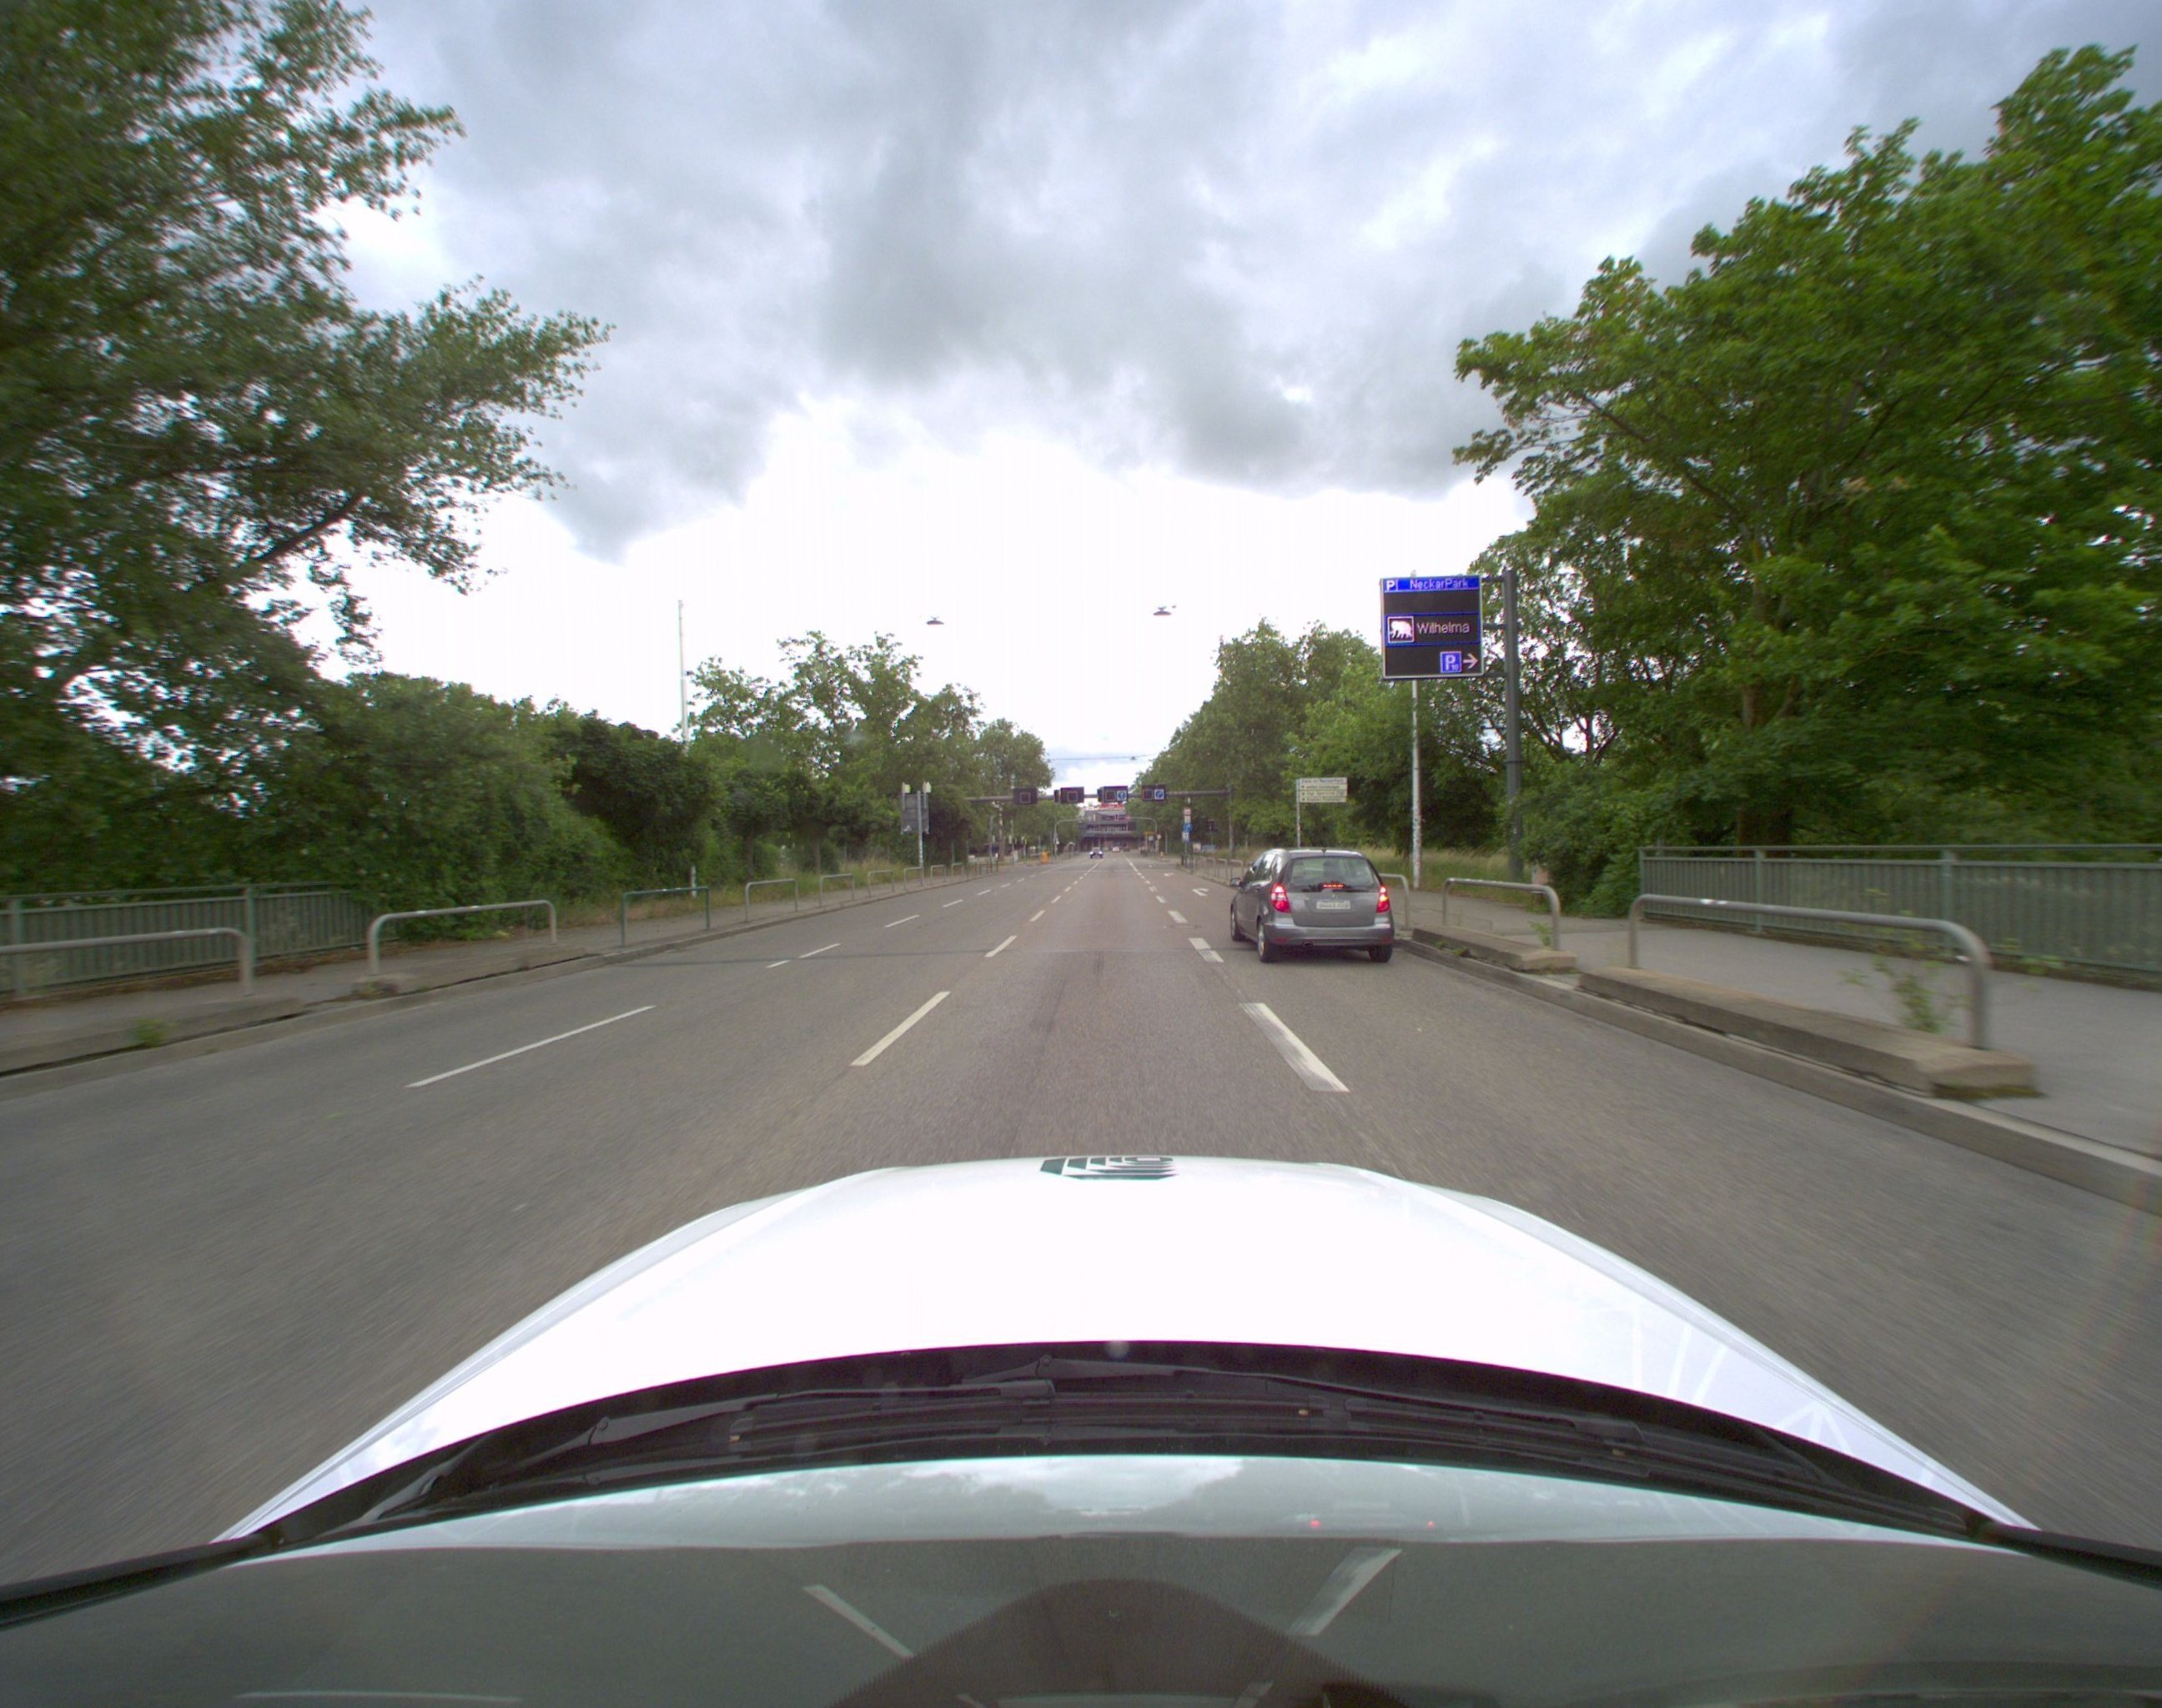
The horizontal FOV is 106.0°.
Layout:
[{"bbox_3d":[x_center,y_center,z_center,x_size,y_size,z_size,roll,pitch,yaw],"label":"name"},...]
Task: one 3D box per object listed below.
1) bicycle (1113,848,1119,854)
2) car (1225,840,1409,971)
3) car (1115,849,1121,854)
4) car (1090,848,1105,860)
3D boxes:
[{"bbox_3d":[10.618,-0.898,248.080,1.986,1.508,4.002,-1,1,2],"label":"bicycle"},{"bbox_3d":[3.326,0.695,12.289,1.818,1.616,4.038,-1,-1,4],"label":"car"},{"bbox_3d":[10.855,-0.780,239.150,1.771,1.460,3.826,0,0,4],"label":"car"},{"bbox_3d":[2.573,0.015,126.892,1.984,1.660,4.524,-3,0,5],"label":"car"}]
